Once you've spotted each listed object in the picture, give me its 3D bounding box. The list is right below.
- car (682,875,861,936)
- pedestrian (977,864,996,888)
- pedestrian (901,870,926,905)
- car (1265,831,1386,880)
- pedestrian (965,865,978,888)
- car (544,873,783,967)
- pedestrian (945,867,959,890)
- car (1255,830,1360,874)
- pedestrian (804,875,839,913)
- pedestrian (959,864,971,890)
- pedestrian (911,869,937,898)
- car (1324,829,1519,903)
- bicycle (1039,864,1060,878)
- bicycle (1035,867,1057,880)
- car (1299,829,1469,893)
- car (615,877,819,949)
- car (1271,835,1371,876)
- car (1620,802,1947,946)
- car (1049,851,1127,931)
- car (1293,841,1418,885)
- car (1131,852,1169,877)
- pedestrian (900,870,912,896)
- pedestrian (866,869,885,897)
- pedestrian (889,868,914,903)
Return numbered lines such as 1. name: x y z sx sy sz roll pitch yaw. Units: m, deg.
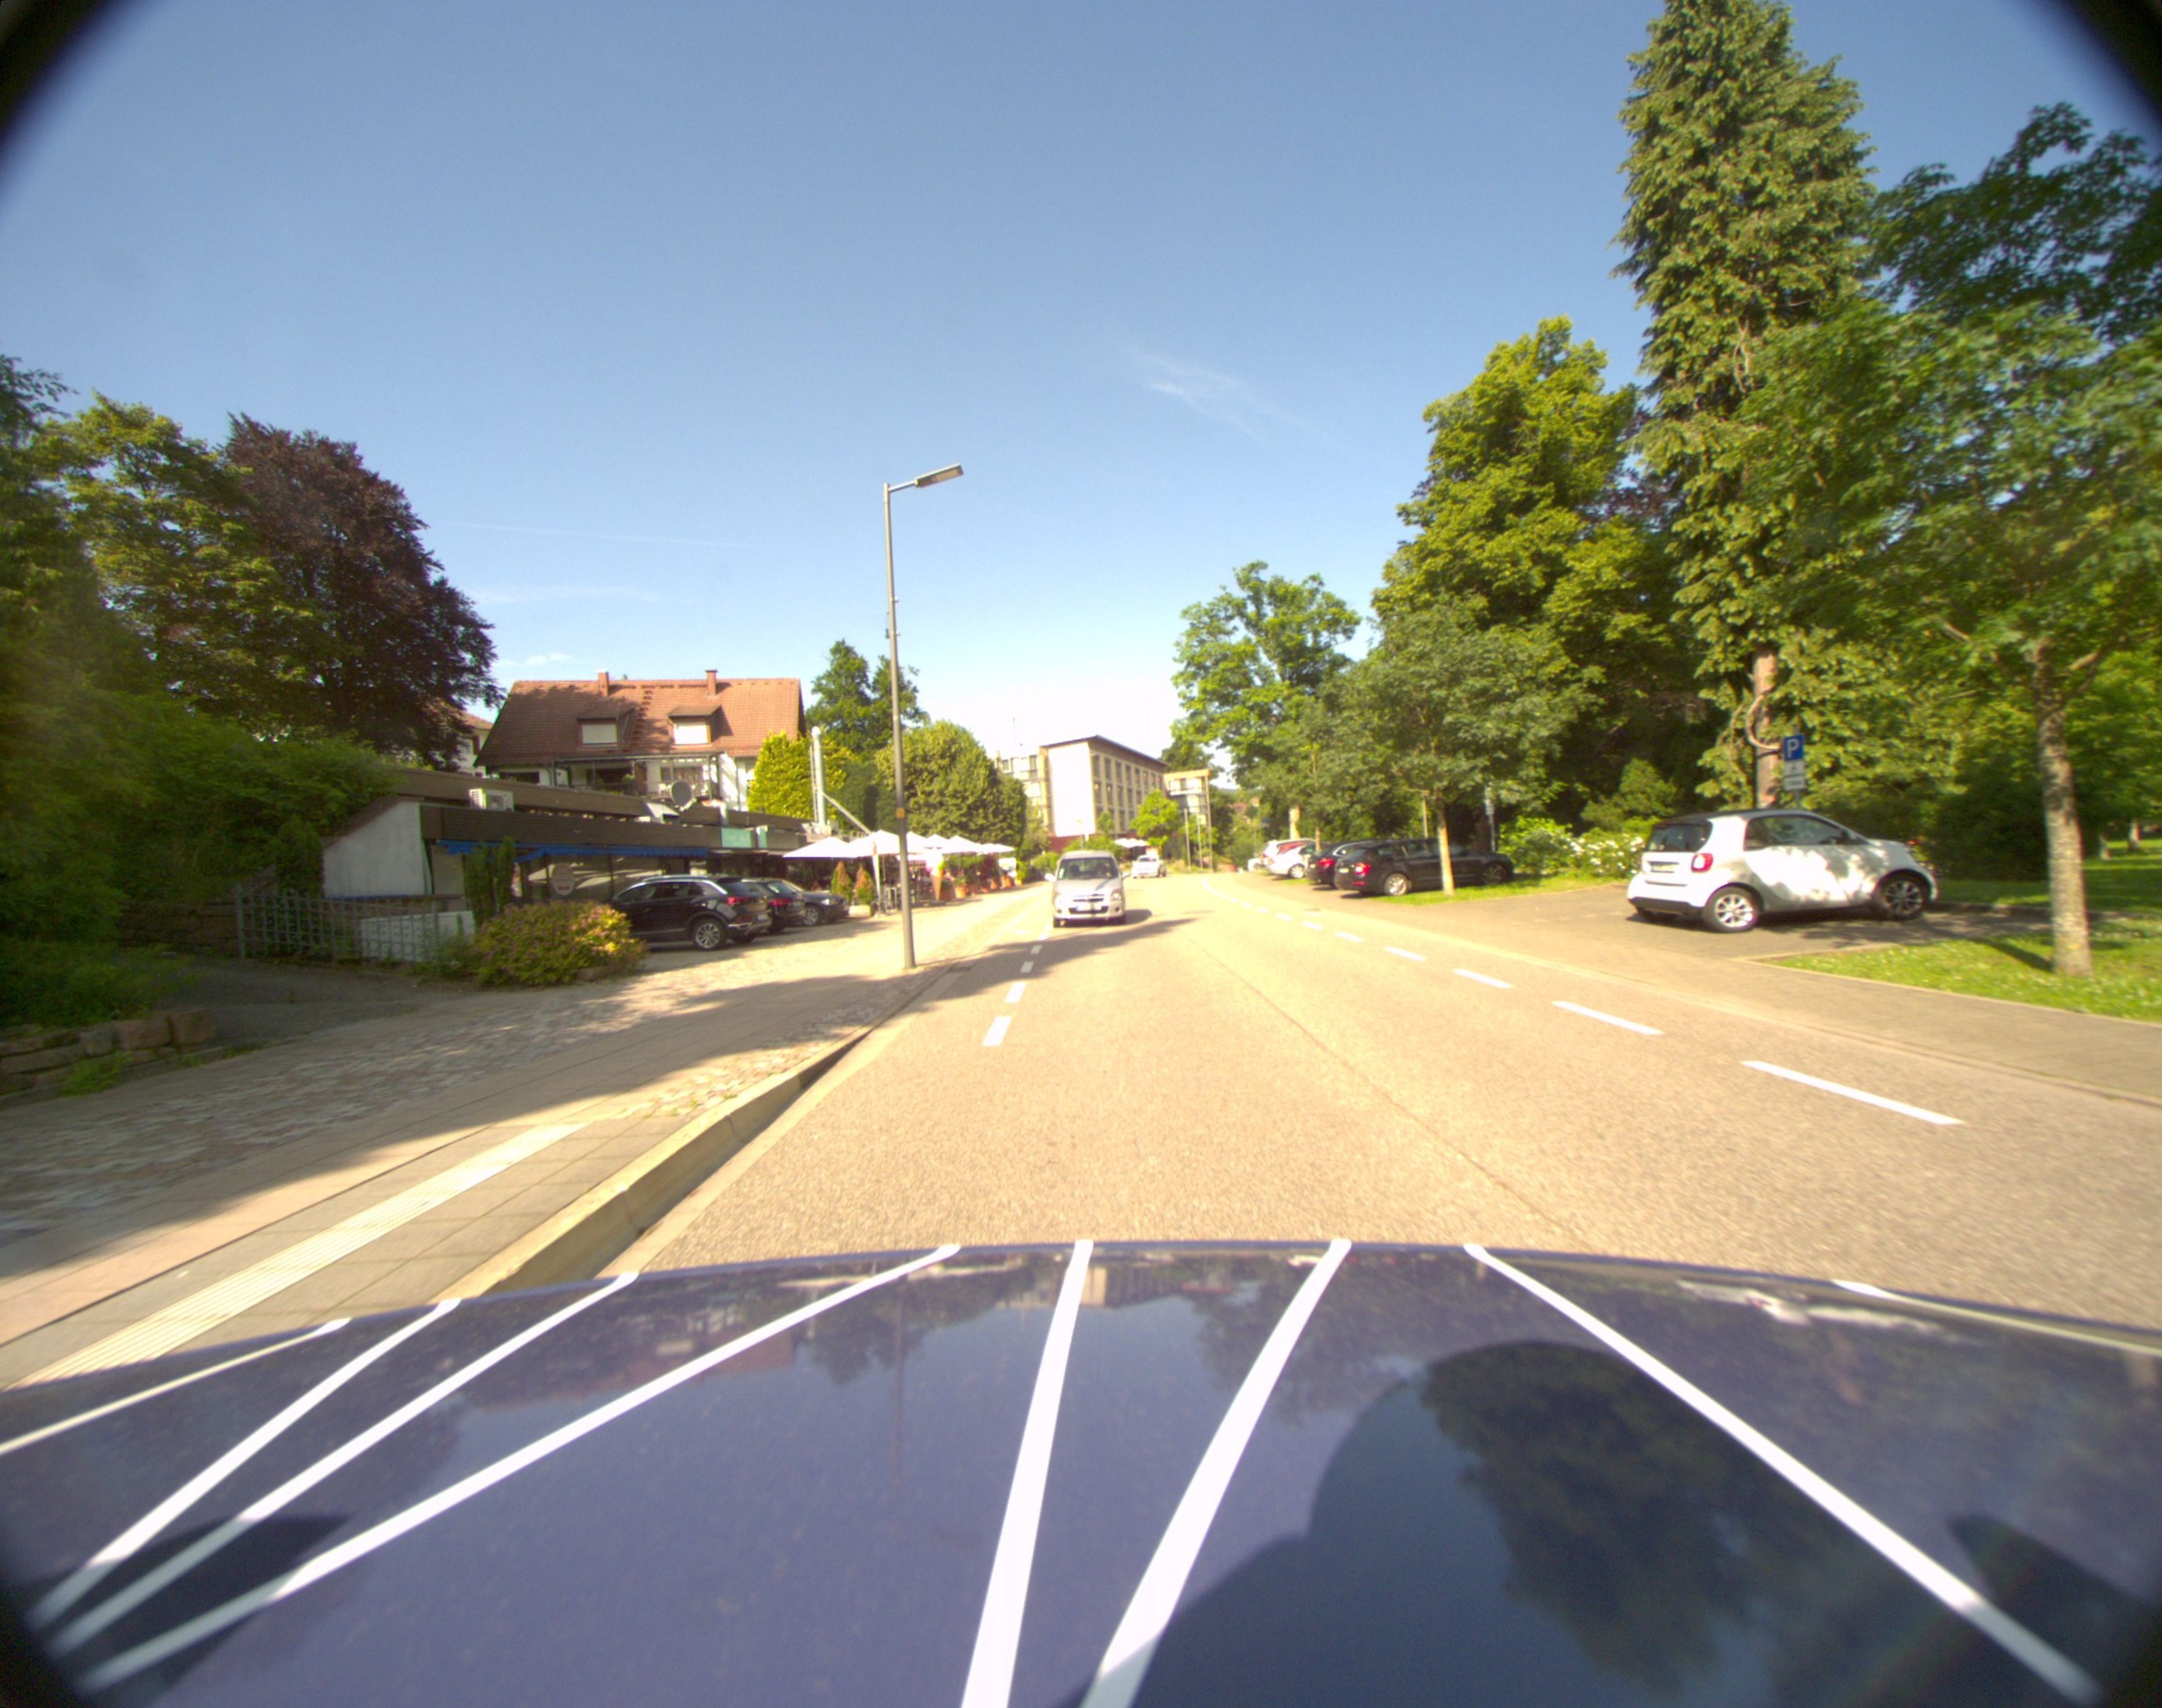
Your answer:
1. car: -8.640 1.421 21.445 4.272 1.371 1.709 -3 1 2
2. pedestrian: -5.363 1.257 43.156 0.950 1.276 0.645 -2 0 0
3. pedestrian: -6.446 1.282 29.204 0.812 1.253 0.700 -3 1 -7
4. car: 10.028 0.044 31.529 4.491 1.409 1.811 -8 1 12
5. pedestrian: -6.261 1.265 43.475 0.649 1.276 0.645 -2 0 0
6. car: -8.545 1.312 15.820 3.886 1.571 1.748 -3 0 -2
7. pedestrian: -7.339 1.395 43.170 0.596 1.230 0.507 -3 0 -39
8. car: 10.962 -0.107 37.008 4.493 1.654 1.810 -6 1 4
9. pedestrian: -9.035 1.396 26.480 0.699 1.253 0.814 -3 1 28
10. pedestrian: -5.658 1.137 37.144 0.473 1.238 0.592 -3 1 -14
11. pedestrian: -7.075 1.334 34.254 0.810 1.253 0.701 -3 1 20
12. car: 8.883 0.293 20.013 4.288 1.423 1.712 -6 1 -5
13. bicycle: -2.203 1.174 53.023 1.544 0.977 0.385 -1 0 35
14. bicycle: -2.408 1.347 52.093 1.543 0.904 0.385 -1 0 35
15. car: 9.329 0.219 23.643 4.505 1.501 1.713 -5 0 0
16. car: -8.890 1.427 18.782 4.119 1.407 1.748 -3 1 2
17. car: 10.842 0.051 34.523 3.995 1.424 1.720 -6 1 7
18. car: 9.230 0.250 10.211 2.656 1.538 1.683 -6 1 7
19. car: 0.114 0.790 18.364 1.605 1.628 3.999 -3 0 -1
20. car: 9.848 0.309 27.471 3.803 1.236 1.762 -5 1 0
21. car: 4.483 0.694 48.887 1.738 1.488 3.934 -3 -1 14
22. pedestrian: -8.899 1.471 38.644 0.470 1.258 0.440 -2 0 -2
23. pedestrian: -9.863 1.398 36.481 0.639 1.297 0.579 -3 0 -35
24. pedestrian: -7.213 1.253 30.556 0.701 1.373 0.810 -3 1 -29
